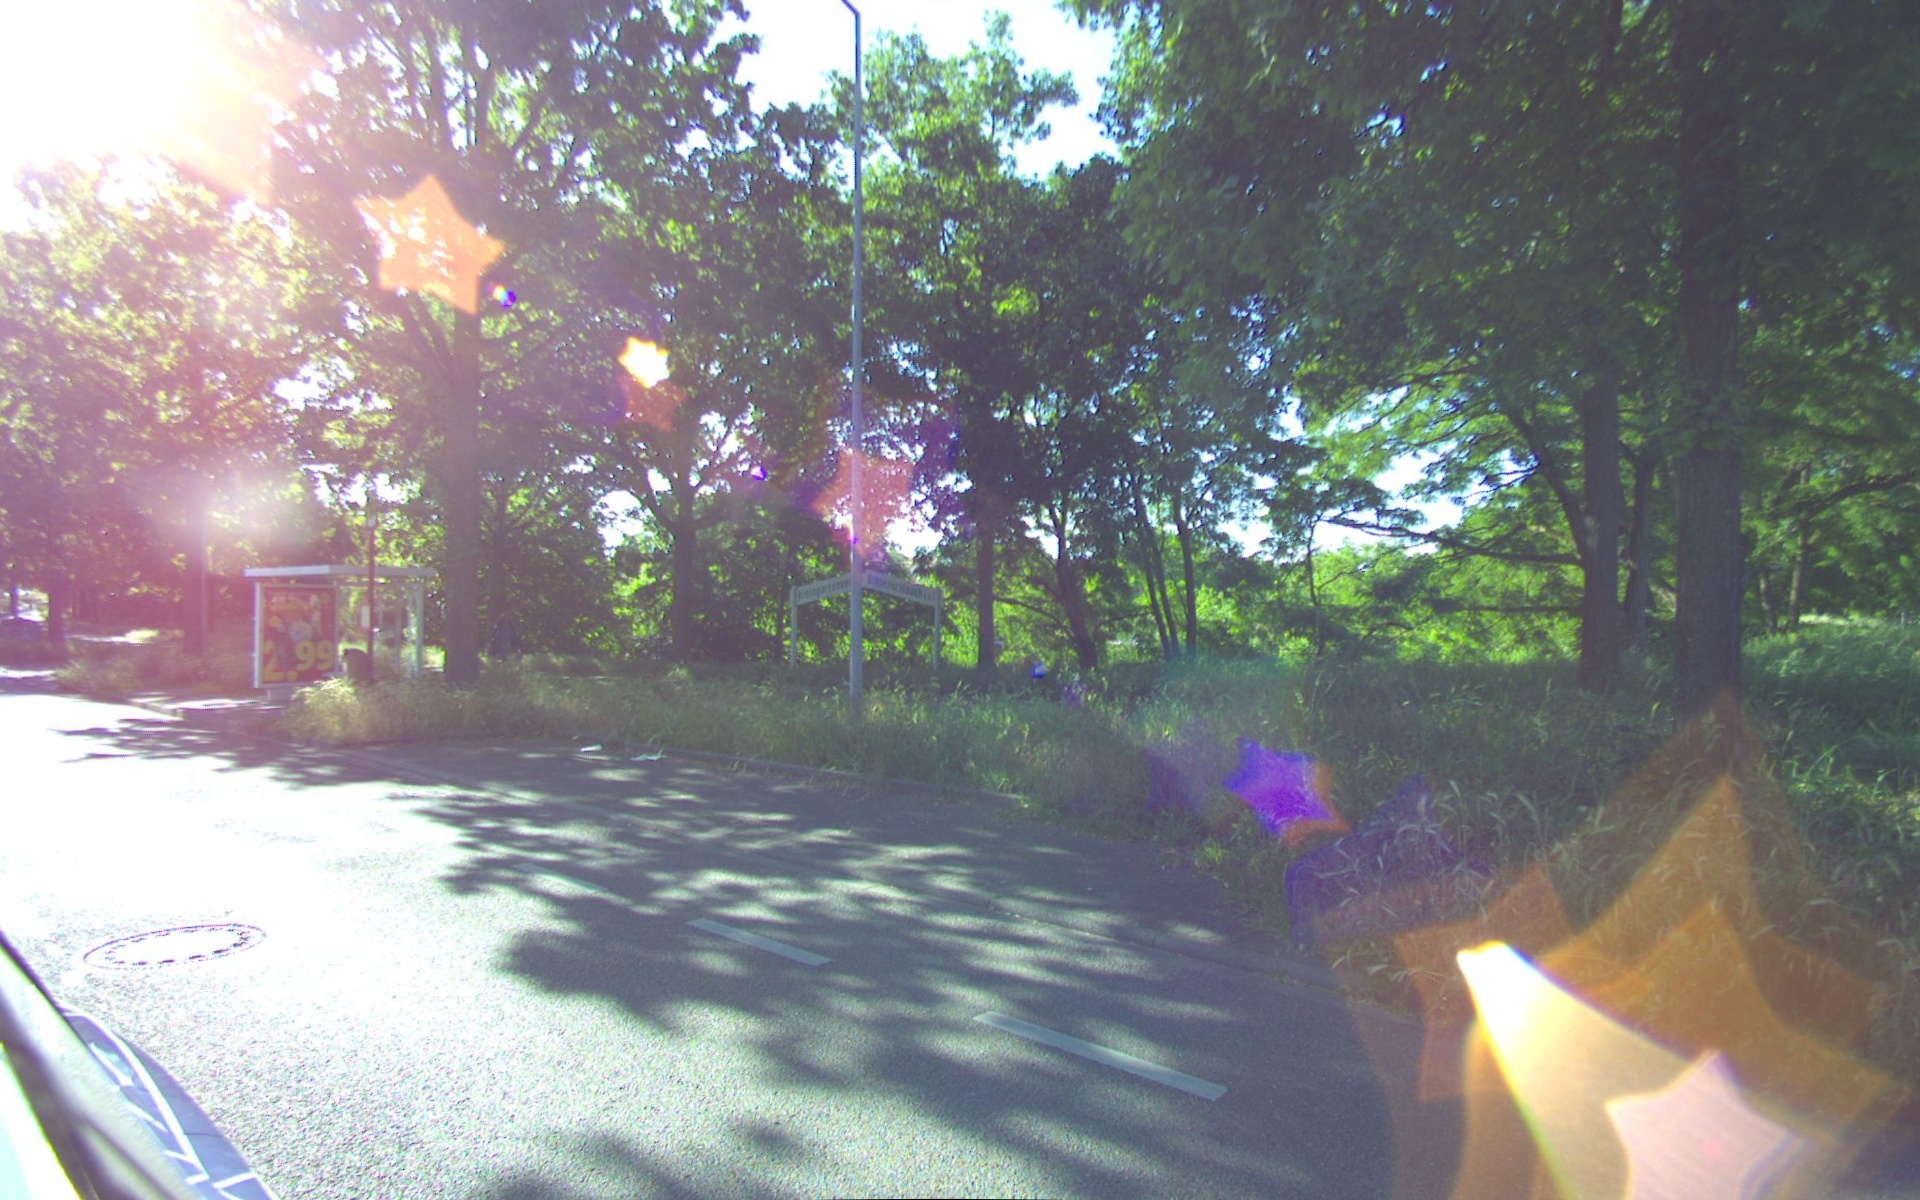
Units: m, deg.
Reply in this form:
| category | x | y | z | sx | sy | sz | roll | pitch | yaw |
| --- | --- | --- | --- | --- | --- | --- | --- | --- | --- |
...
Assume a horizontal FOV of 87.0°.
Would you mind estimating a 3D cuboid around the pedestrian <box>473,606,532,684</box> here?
| category | x | y | z | sx | sy | sz | roll | pitch | yaw |
| --- | --- | --- | --- | --- | --- | --- | --- | --- | --- |
| pedestrian | -10.326 | 0.999 | 22.850 | 0.891 | 1.701 | 0.903 | -2 | -1 | 42 |
